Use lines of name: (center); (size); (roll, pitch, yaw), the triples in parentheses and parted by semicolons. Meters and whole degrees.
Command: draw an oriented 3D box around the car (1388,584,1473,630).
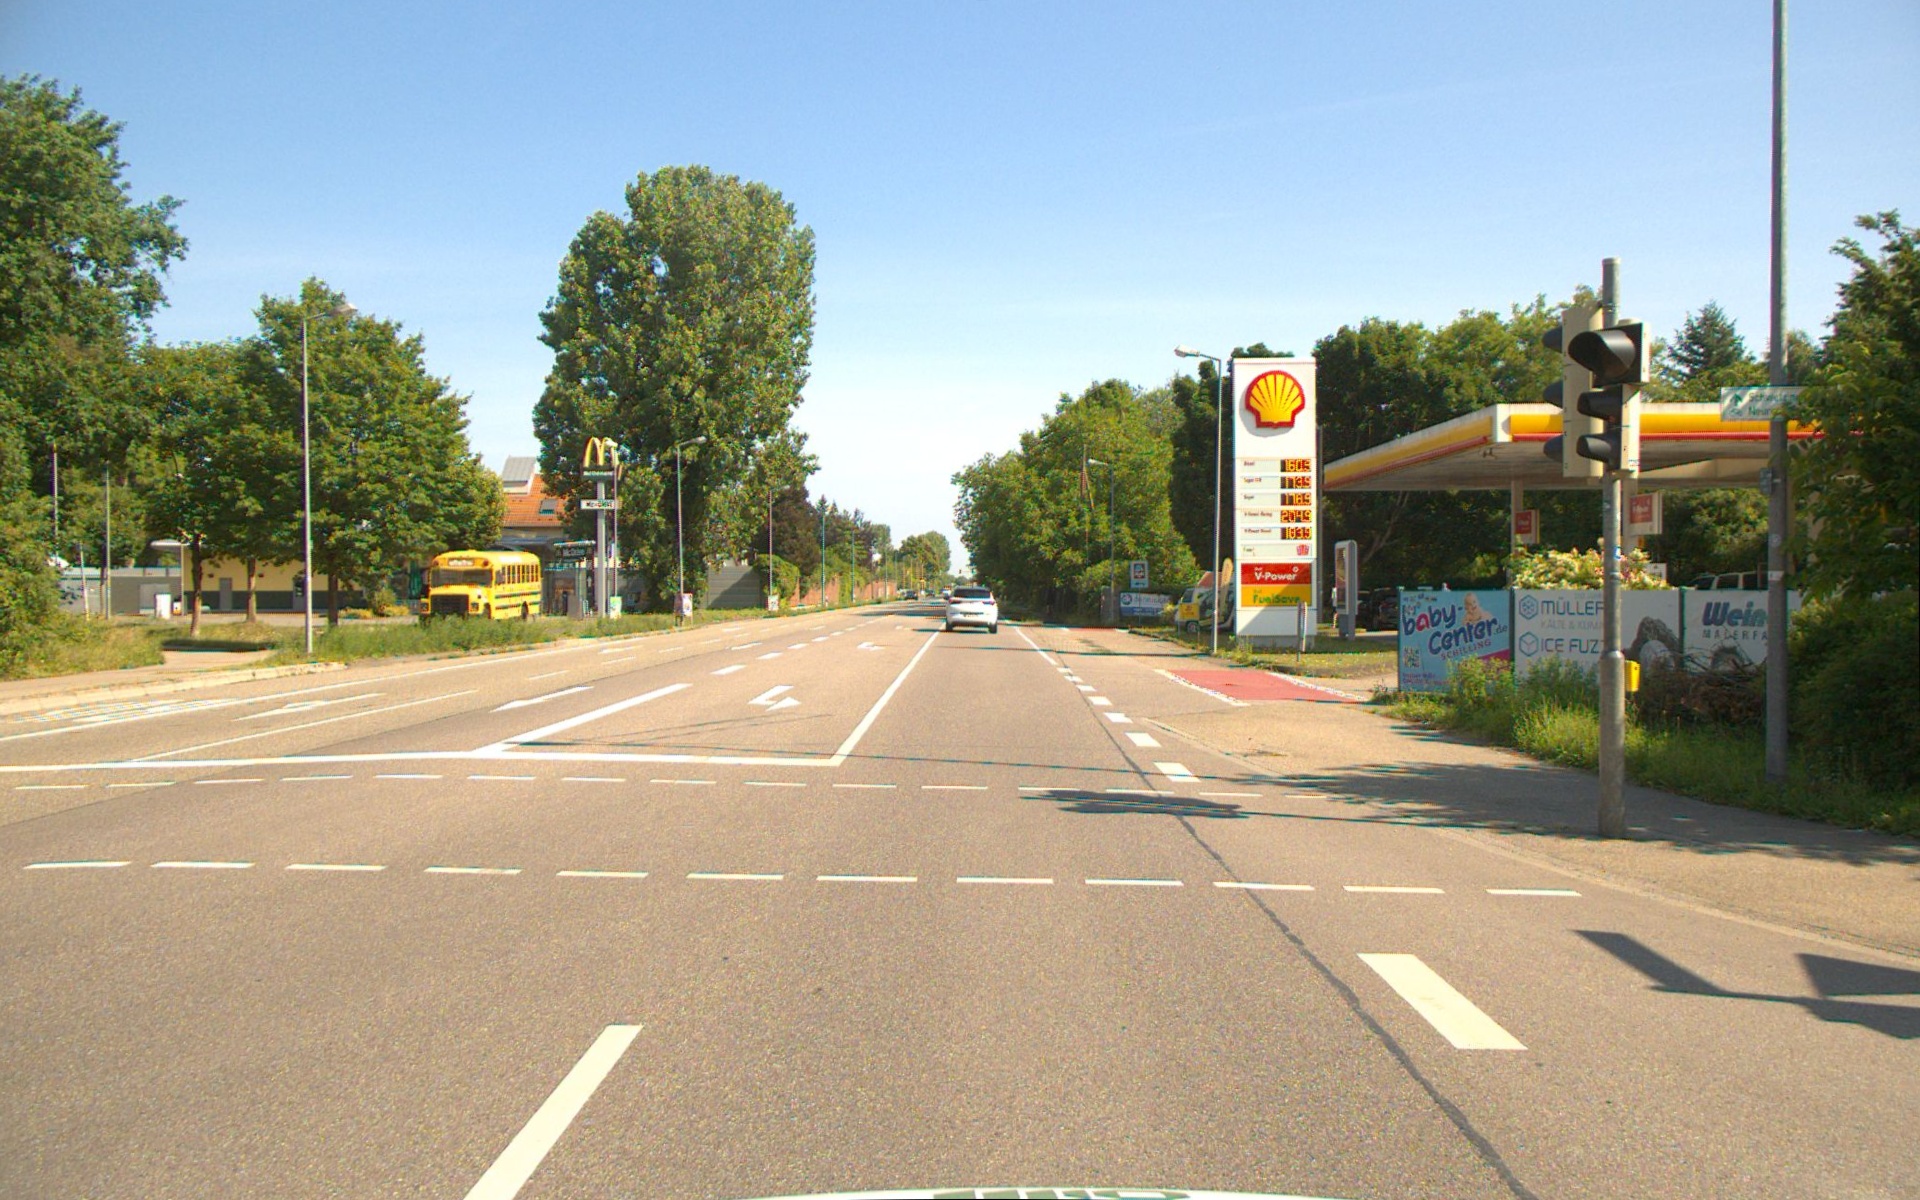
car: (14.817, 0.198, 52.257); (1.760, 1.384, 3.850); (0, 0, 3)

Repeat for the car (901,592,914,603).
car: (-7.807, -0.399, 246.260); (1.809, 1.522, 4.912); (-2, 0, 1)

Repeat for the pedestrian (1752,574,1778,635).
pedestrian: (22.345, 0.122, 45.927); (0.488, 1.660, 0.476); (0, 0, 4)

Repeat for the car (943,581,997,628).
car: (0.377, 0.157, 58.855); (1.809, 1.568, 4.225); (1, 0, 1)

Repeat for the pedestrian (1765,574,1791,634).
pedestrian: (22.297, 0.106, 45.070); (0.488, 1.621, 0.476); (0, 0, 4)

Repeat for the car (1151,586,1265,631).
car: (9.241, 0.317, 61.755); (3.911, 1.557, 1.583); (1, 0, -7)

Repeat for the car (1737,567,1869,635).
car: (23.001, 0.039, 45.303); (1.789, 1.758, 4.002); (0, 0, 4)

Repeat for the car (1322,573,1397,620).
car: (16.318, -0.136, 67.768); (1.953, 1.796, 3.998); (1, 0, -2)

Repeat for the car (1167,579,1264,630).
car: (8.185, 0.154, 53.025); (2.685, 1.557, 1.566); (0, -1, 45)

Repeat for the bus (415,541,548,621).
bus: (-17.832, -0.666, 62.232); (2.527, 2.726, 8.994); (1, 0, -1)

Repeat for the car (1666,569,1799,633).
car: (23.778, 0.003, 51.083); (1.813, 1.870, 4.780); (0, 0, -1)
